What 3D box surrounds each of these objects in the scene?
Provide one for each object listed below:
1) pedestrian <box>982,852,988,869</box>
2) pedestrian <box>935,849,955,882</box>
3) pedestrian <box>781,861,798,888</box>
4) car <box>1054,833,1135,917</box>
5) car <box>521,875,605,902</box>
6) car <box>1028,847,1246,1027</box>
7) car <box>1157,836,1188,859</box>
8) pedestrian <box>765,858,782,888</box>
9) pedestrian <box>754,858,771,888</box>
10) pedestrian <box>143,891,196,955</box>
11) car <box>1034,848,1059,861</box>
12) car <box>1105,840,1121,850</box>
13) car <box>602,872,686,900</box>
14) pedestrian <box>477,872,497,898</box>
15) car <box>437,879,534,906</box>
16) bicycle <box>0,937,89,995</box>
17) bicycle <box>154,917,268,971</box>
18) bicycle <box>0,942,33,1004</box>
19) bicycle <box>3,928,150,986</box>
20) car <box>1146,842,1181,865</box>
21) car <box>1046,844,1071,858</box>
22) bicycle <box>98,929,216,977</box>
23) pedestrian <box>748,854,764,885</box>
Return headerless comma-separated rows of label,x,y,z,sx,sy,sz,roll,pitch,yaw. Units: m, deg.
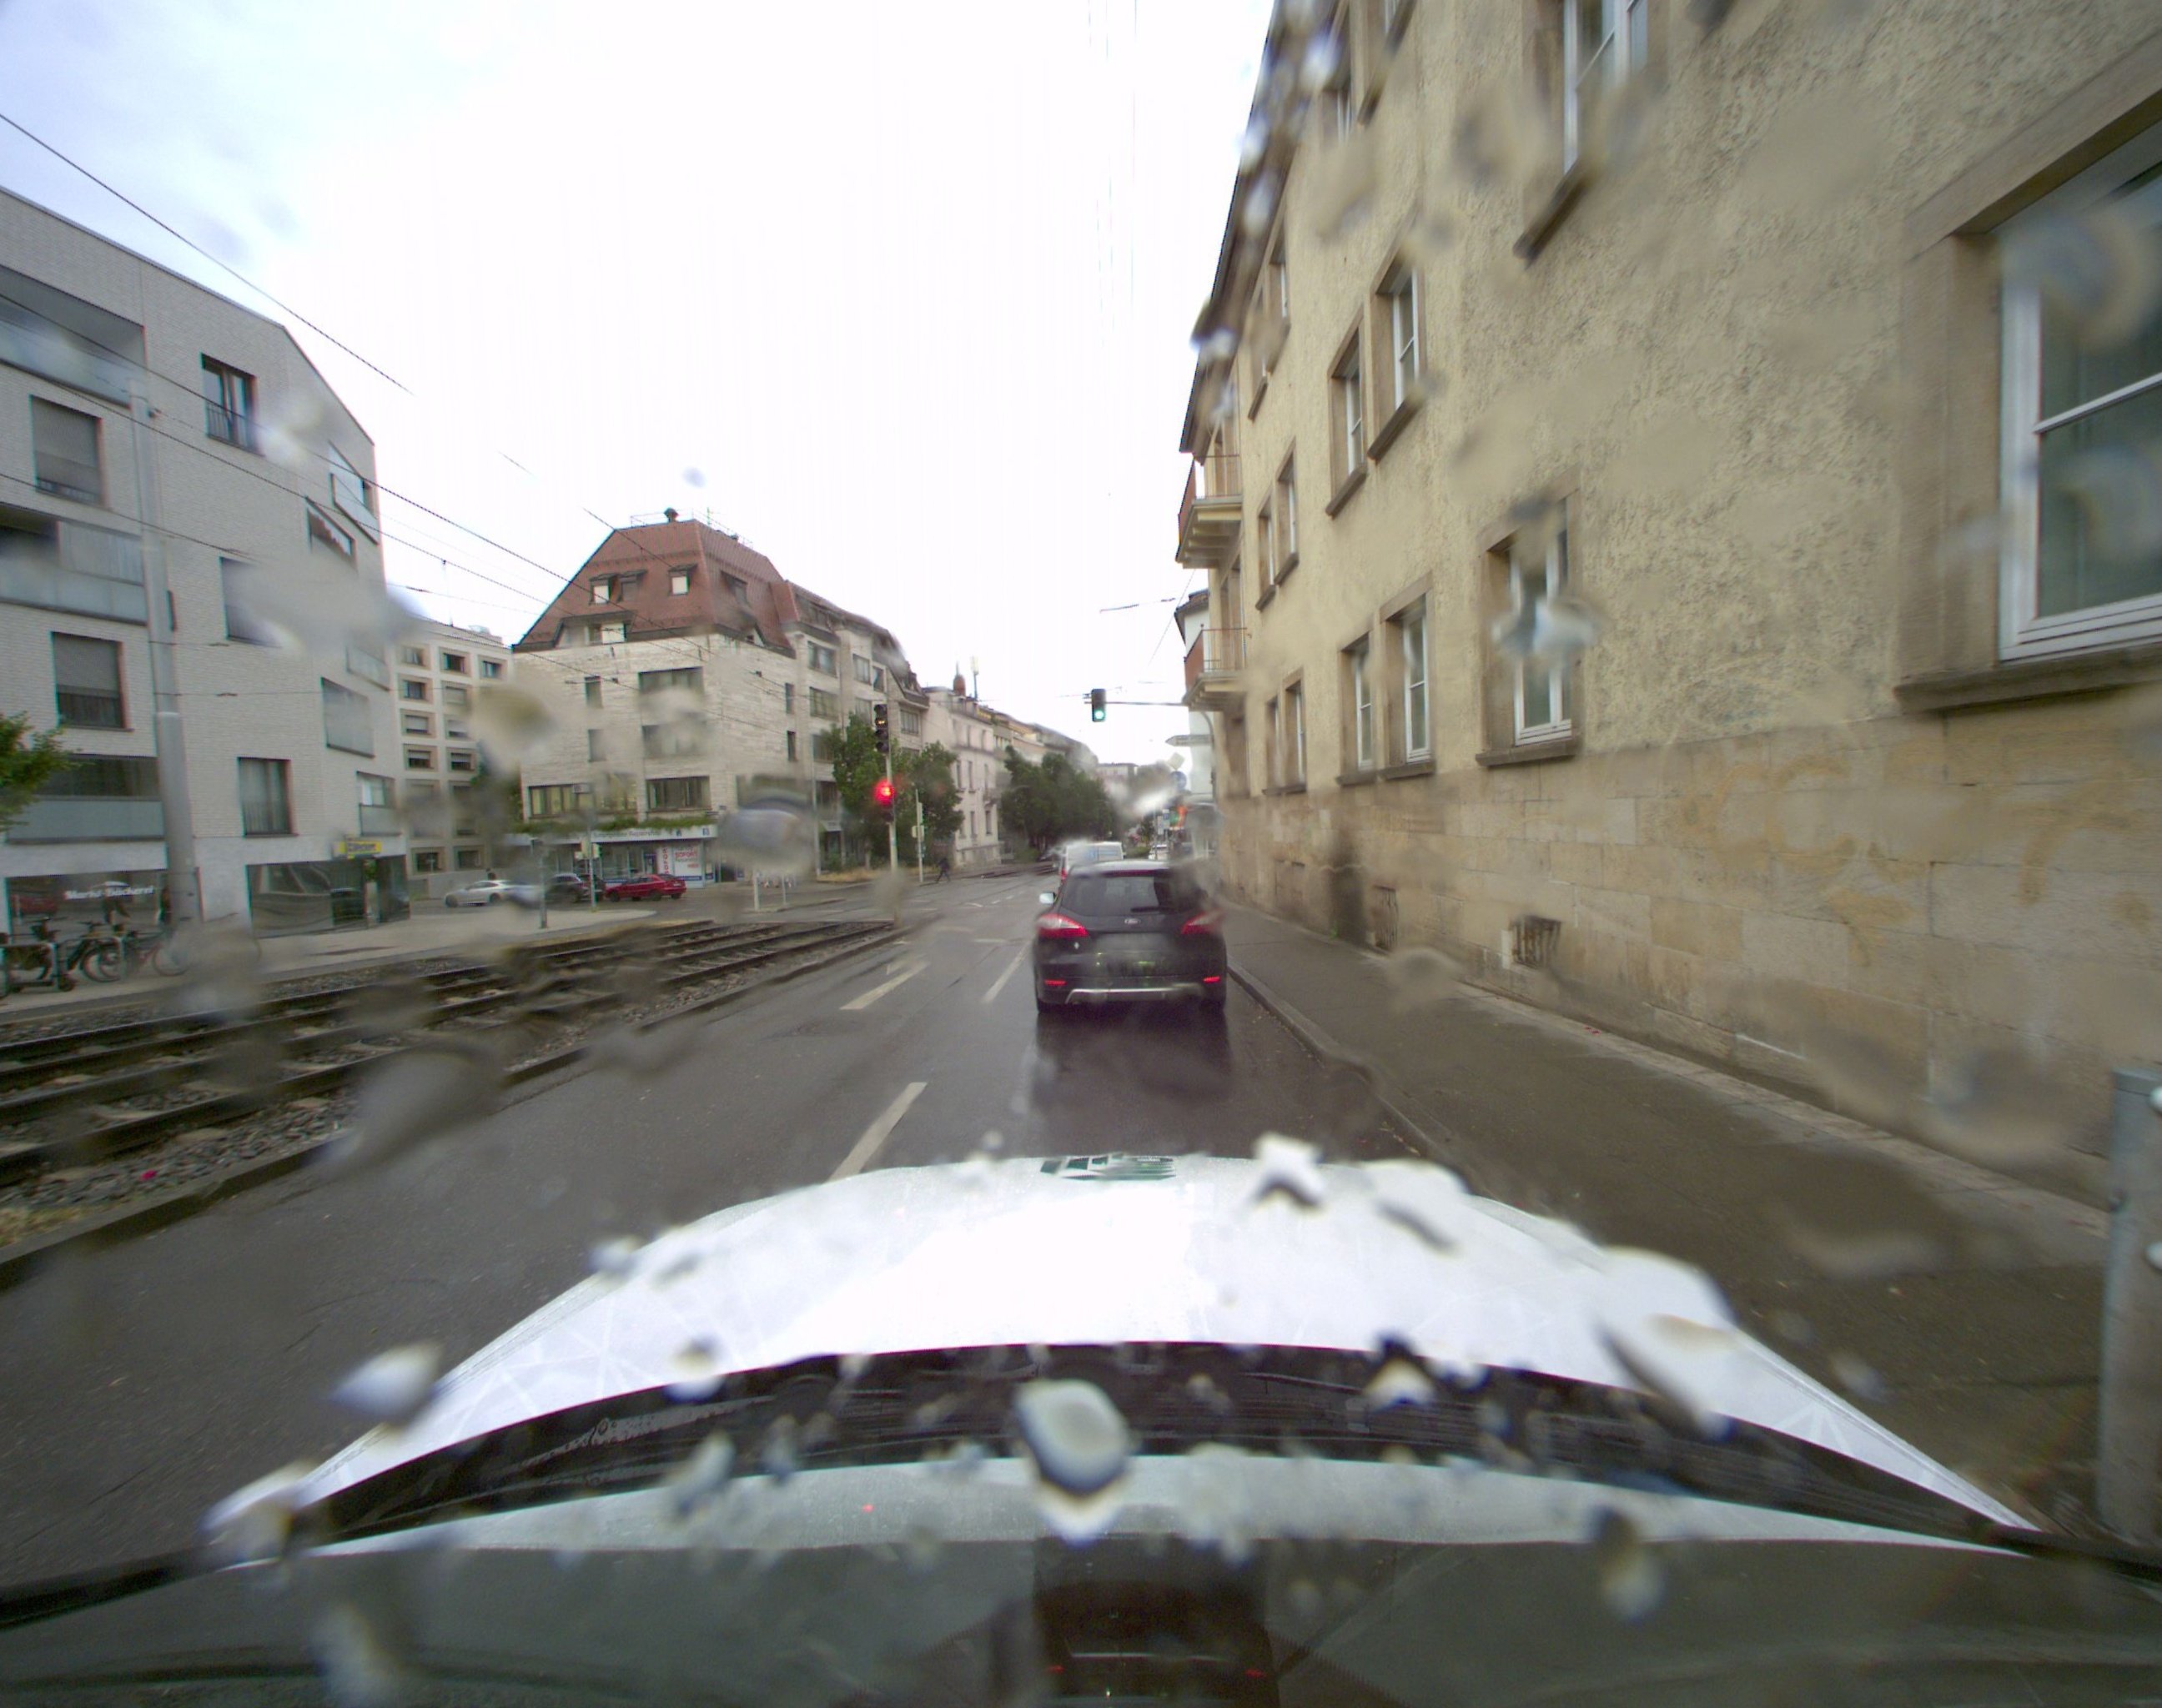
pedestrian,-9.109,0.604,77.353,0.466,1.652,0.582,0,-1,0
pedestrian,-7.539,0.631,45.219,0.926,1.830,0.960,0,-1,4
pedestrian,-16.923,1.162,47.288,0.643,1.549,0.686,0,-1,10
car,0.369,0.538,22.453,1.981,2.060,4.645,-1,0,1
car,-27.837,1.846,43.795,3.670,1.318,1.598,-2,-1,11
car,0.530,0.720,8.911,1.836,1.507,4.001,-1,0,1
car,7.037,-0.472,62.158,1.833,1.632,4.602,-2,0,12
pedestrian,-17.823,1.074,47.234,0.643,1.724,0.686,0,-1,10
pedestrian,-18.496,1.083,47.308,0.643,1.749,0.686,0,-1,10
pedestrian,-23.891,1.787,21.365,0.650,1.569,0.770,-2,0,-26
car,-3.960,0.055,93.693,1.682,1.377,4.736,-2,-1,12
car,5.474,-1.463,138.846,1.843,1.637,4.952,-2,0,12
car,-23.007,1.678,42.910,3.668,1.318,1.599,-2,-1,13
pedestrian,-35.751,1.850,48.999,0.677,1.549,0.651,0,-1,10
car,-32.595,2.088,44.603,4.458,1.318,1.598,-2,-1,11
bicycle,-18.012,1.886,13.761,1.782,0.918,0.386,0,-1,-8
bicycle,-18.042,1.865,16.905,1.779,0.980,0.440,-2,-1,-3
bicycle,-17.753,1.902,12.859,1.779,0.918,0.387,-2,-1,-3
bicycle,-18.403,1.876,14.950,1.787,0.918,0.385,-1,0,-16
car,5.655,-0.044,55.464,1.789,1.455,4.602,-3,-1,12
car,-2.715,-0.378,99.650,1.843,1.548,4.736,-2,0,12
bicycle,-17.797,1.911,15.698,1.778,0.876,0.387,0,-1,-1
pedestrian,-19.266,0.906,48.270,0.643,1.842,0.686,0,-1,10
